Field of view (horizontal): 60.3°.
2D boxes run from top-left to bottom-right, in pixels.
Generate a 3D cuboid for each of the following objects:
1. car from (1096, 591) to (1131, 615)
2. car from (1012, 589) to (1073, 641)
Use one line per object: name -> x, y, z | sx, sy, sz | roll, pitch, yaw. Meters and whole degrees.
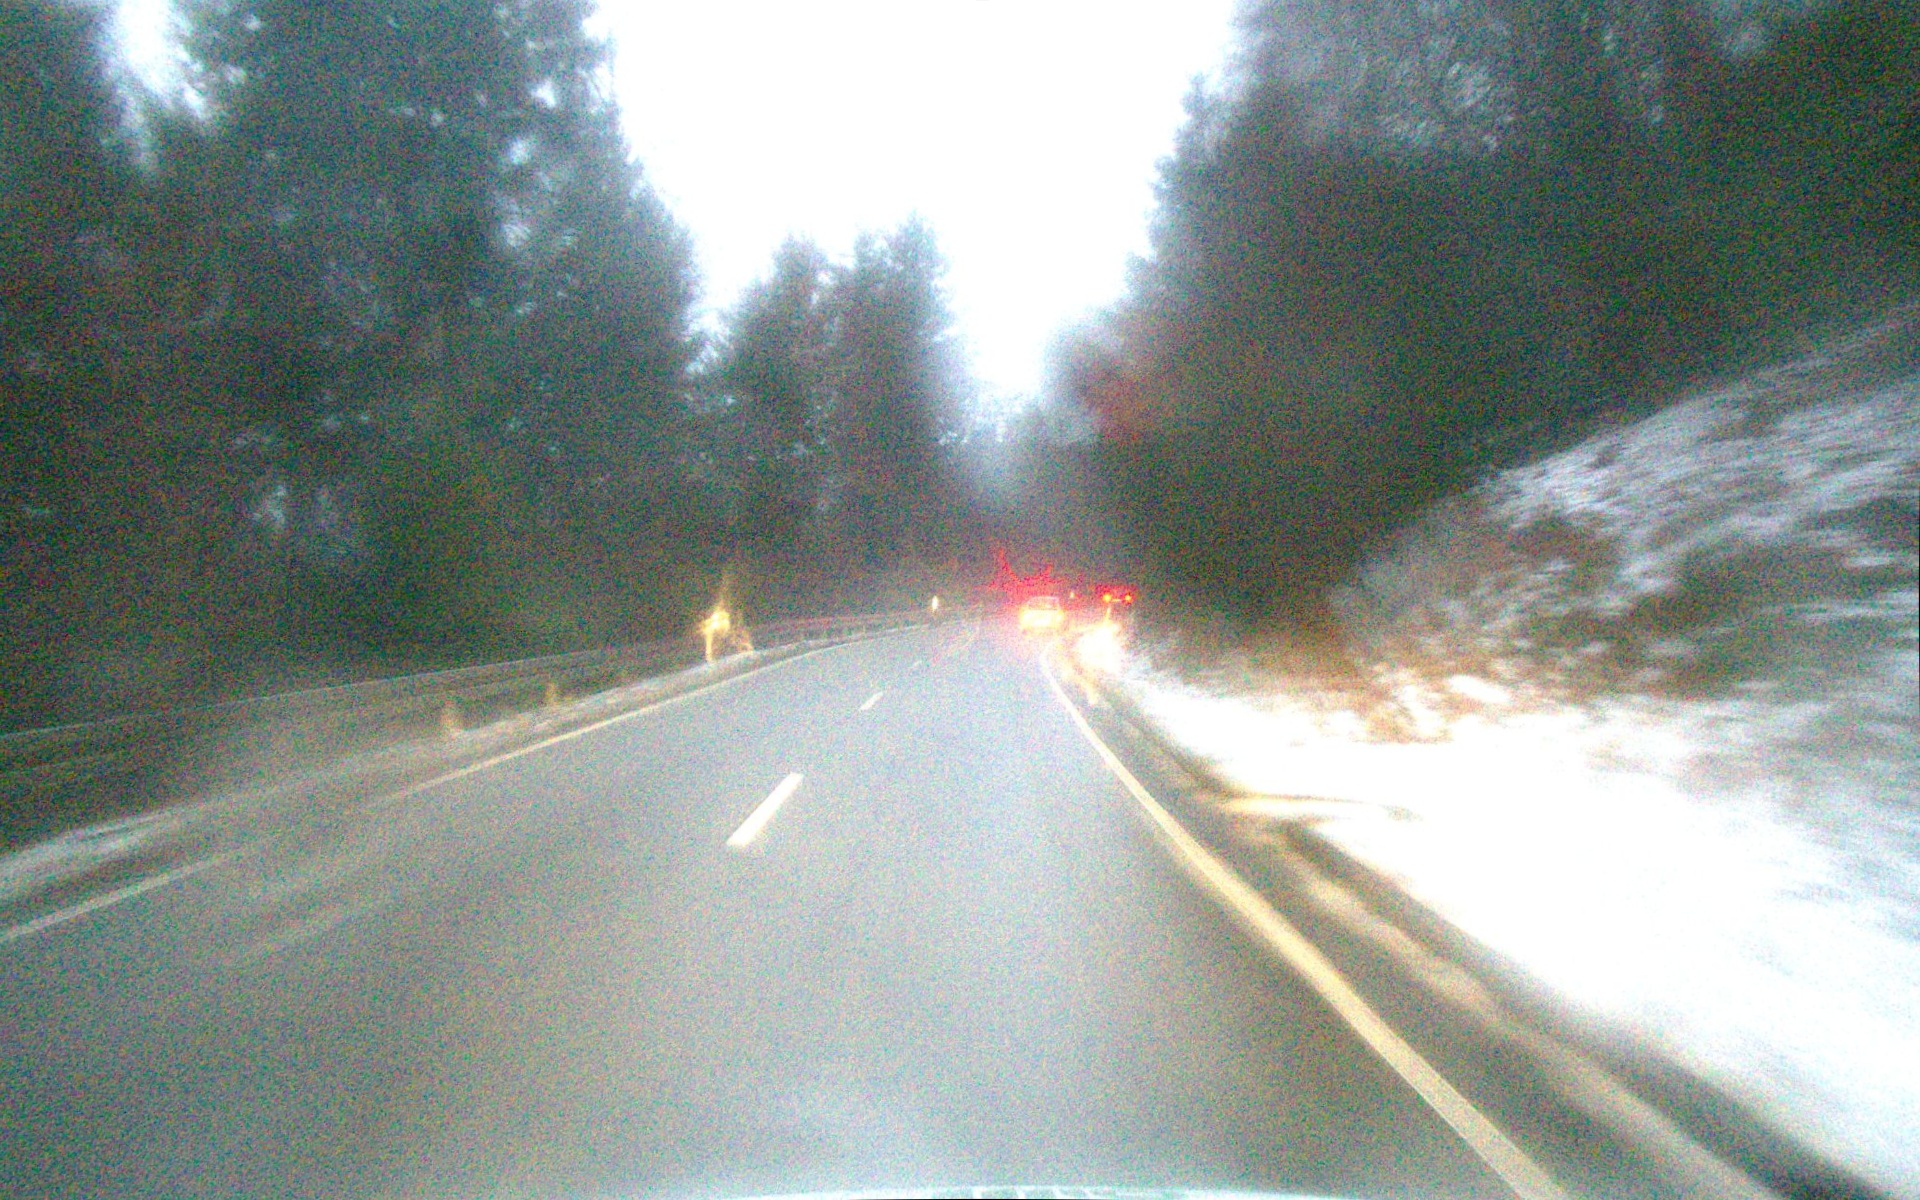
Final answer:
car -> 9.350, 0.182, 100.454 | 1.951, 1.333, 4.003 | -2, 0, 7
car -> 3.256, 0.559, 64.482 | 1.951, 1.905, 4.004 | -2, 0, 8
